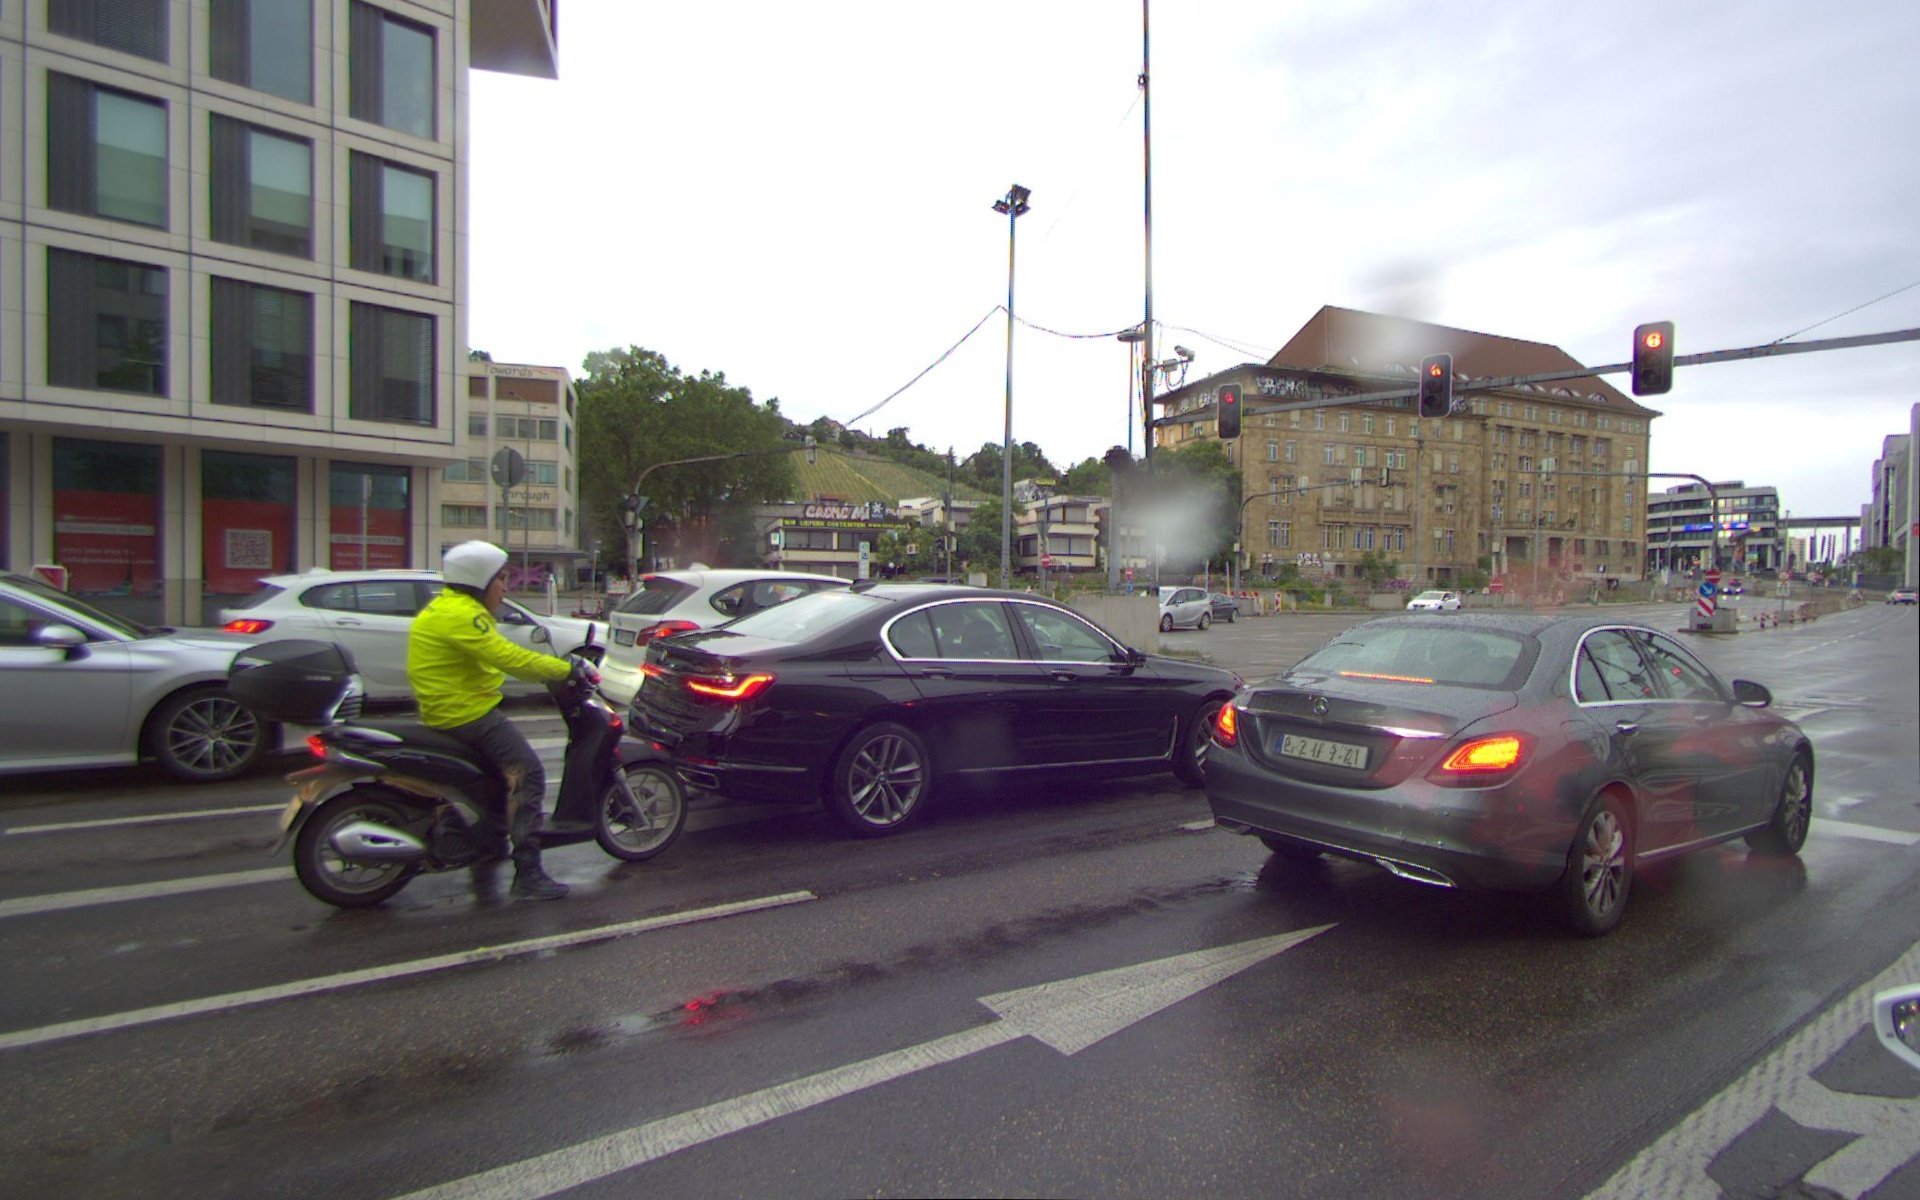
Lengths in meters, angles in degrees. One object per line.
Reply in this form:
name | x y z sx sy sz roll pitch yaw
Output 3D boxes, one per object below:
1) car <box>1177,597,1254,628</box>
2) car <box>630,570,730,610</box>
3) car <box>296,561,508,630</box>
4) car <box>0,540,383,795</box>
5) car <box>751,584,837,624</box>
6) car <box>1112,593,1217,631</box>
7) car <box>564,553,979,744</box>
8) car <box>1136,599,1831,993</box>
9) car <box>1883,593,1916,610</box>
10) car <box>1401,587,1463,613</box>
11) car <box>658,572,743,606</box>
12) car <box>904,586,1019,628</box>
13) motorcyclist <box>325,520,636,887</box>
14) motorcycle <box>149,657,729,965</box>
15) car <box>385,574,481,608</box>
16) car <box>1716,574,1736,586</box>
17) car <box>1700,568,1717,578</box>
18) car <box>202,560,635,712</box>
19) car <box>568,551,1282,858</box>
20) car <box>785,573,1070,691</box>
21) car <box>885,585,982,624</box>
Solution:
car | 11.910 0.606 46.673 4.052 1.277 1.607 2 1 -45
car | -13.281 -0.467 47.621 4.369 1.671 1.998 3 1 27
car | -12.589 -0.050 22.813 3.928 1.443 1.681 2 -1 -43
car | -6.621 0.366 6.559 4.756 1.541 1.817 2 1 -37
car | -7.643 0.156 46.119 3.939 1.617 1.668 3 1 40
car | 7.698 0.456 37.633 4.164 1.277 1.751 2 1 -43
car | -1.853 0.445 10.626 3.971 1.637 1.717 2 1 -42
car | 3.231 0.742 5.818 4.443 1.421 1.770 0 2 -36
car | 102.707 0.168 109.851 1.967 1.662 3.987 3 1 35
car | 26.705 0.013 56.783 3.971 1.277 1.751 2 1 -43
car | -14.658 -0.626 56.743 4.370 1.671 1.997 3 1 28
car | 0.094 0.266 34.868 3.974 1.277 1.607 2 1 -45
motorcyclist | -2.290 0.422 4.799 1.092 1.495 0.933 2 1 -41
motorcycle | -2.358 0.831 4.762 2.277 1.002 0.933 1 1 -42
car | -28.465 -0.488 54.245 4.941 1.762 1.998 1 0 26
car | 137.105 -3.541 179.844 1.963 2.040 3.995 3 1 27
car | 151.657 -5.549 203.620 1.962 1.840 3.997 3 1 25
car | -5.878 0.367 11.140 3.956 1.391 1.770 2 1 -37
car | 0.001 0.570 7.268 4.956 1.535 1.873 2 1 -37
car | -0.489 0.500 15.622 4.021 1.621 1.776 2 1 -27
car | -1.304 0.205 49.119 4.318 1.684 1.996 3 1 32
